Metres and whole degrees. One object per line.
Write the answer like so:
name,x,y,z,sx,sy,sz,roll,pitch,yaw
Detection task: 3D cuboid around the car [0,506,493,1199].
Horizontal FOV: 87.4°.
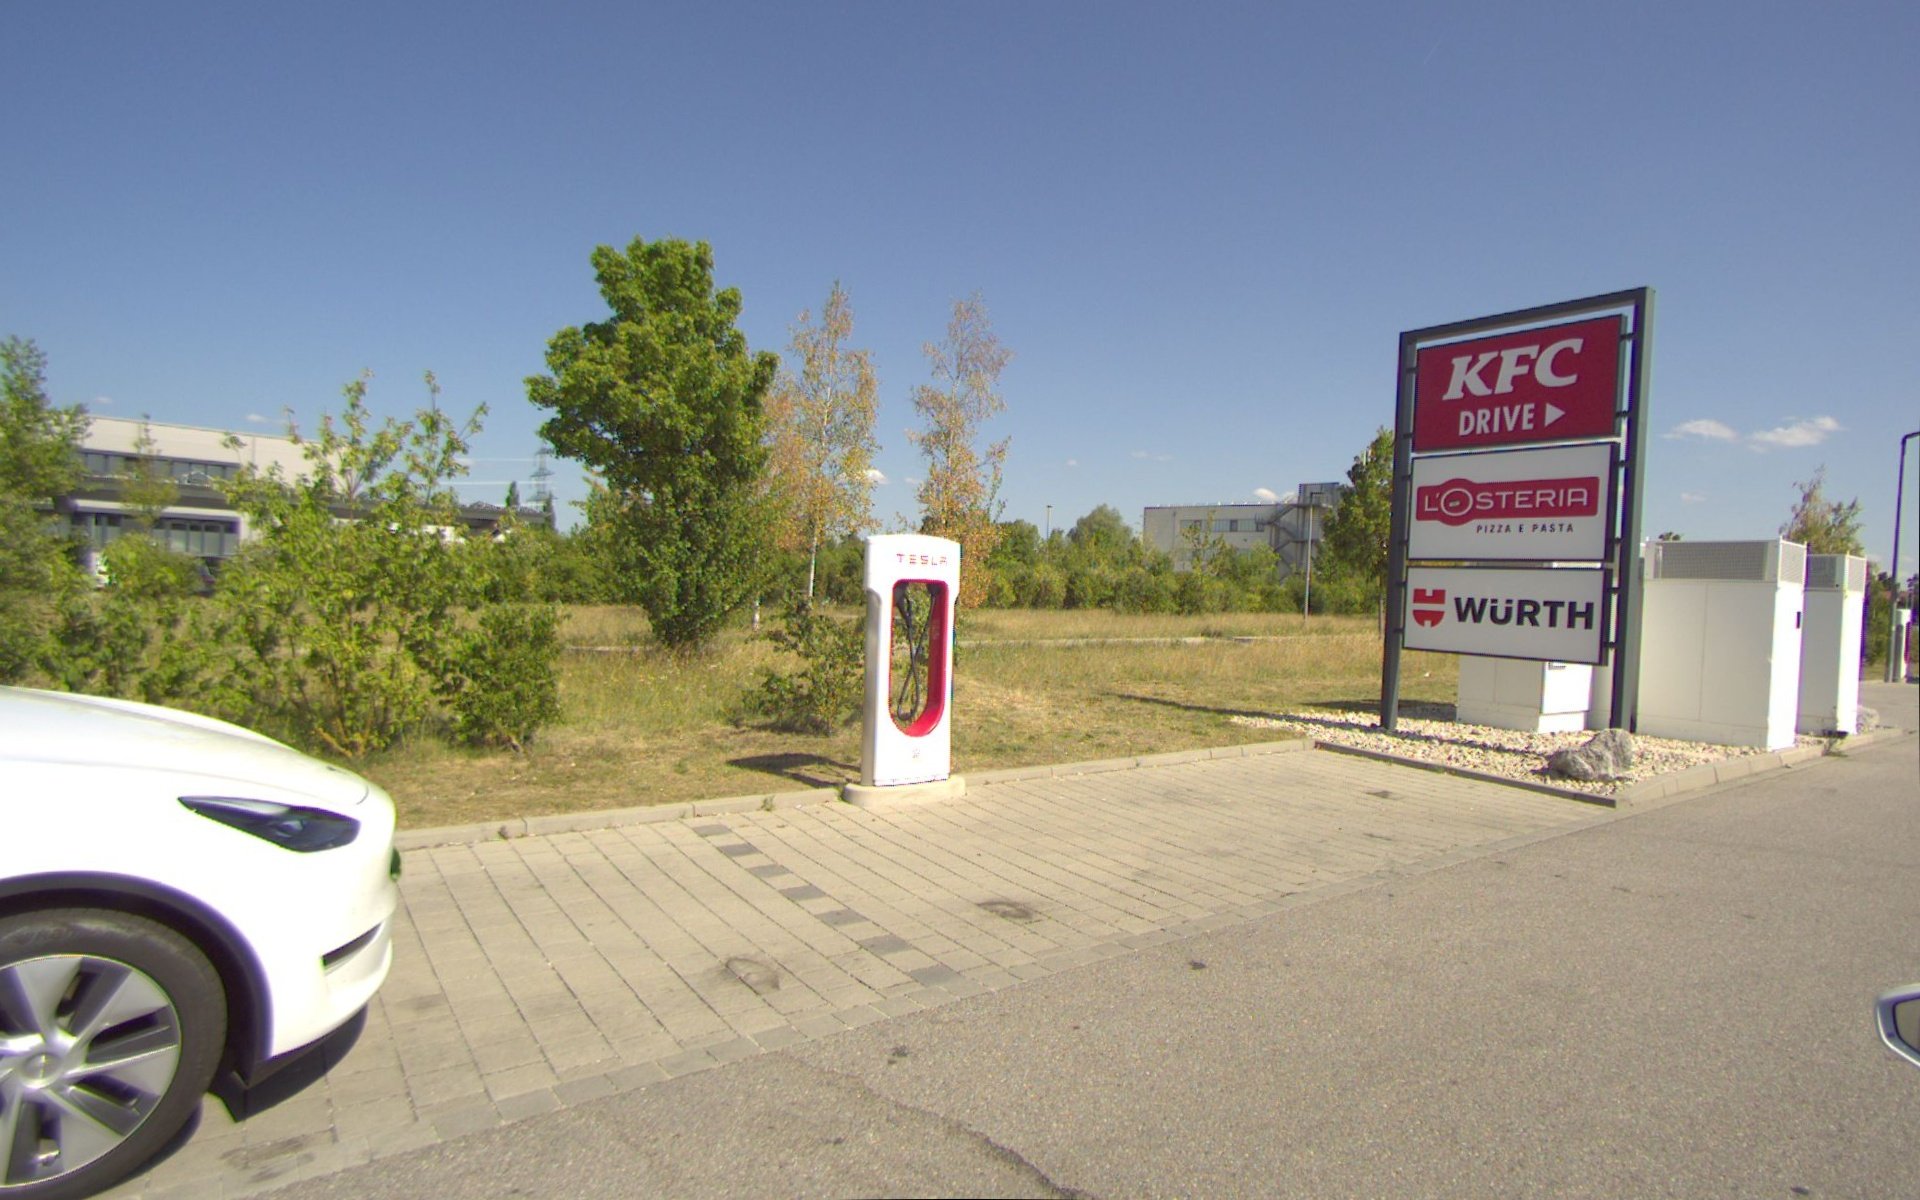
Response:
car,-3.638,0.539,2.159,4.451,1.621,1.849,2,1,-39
